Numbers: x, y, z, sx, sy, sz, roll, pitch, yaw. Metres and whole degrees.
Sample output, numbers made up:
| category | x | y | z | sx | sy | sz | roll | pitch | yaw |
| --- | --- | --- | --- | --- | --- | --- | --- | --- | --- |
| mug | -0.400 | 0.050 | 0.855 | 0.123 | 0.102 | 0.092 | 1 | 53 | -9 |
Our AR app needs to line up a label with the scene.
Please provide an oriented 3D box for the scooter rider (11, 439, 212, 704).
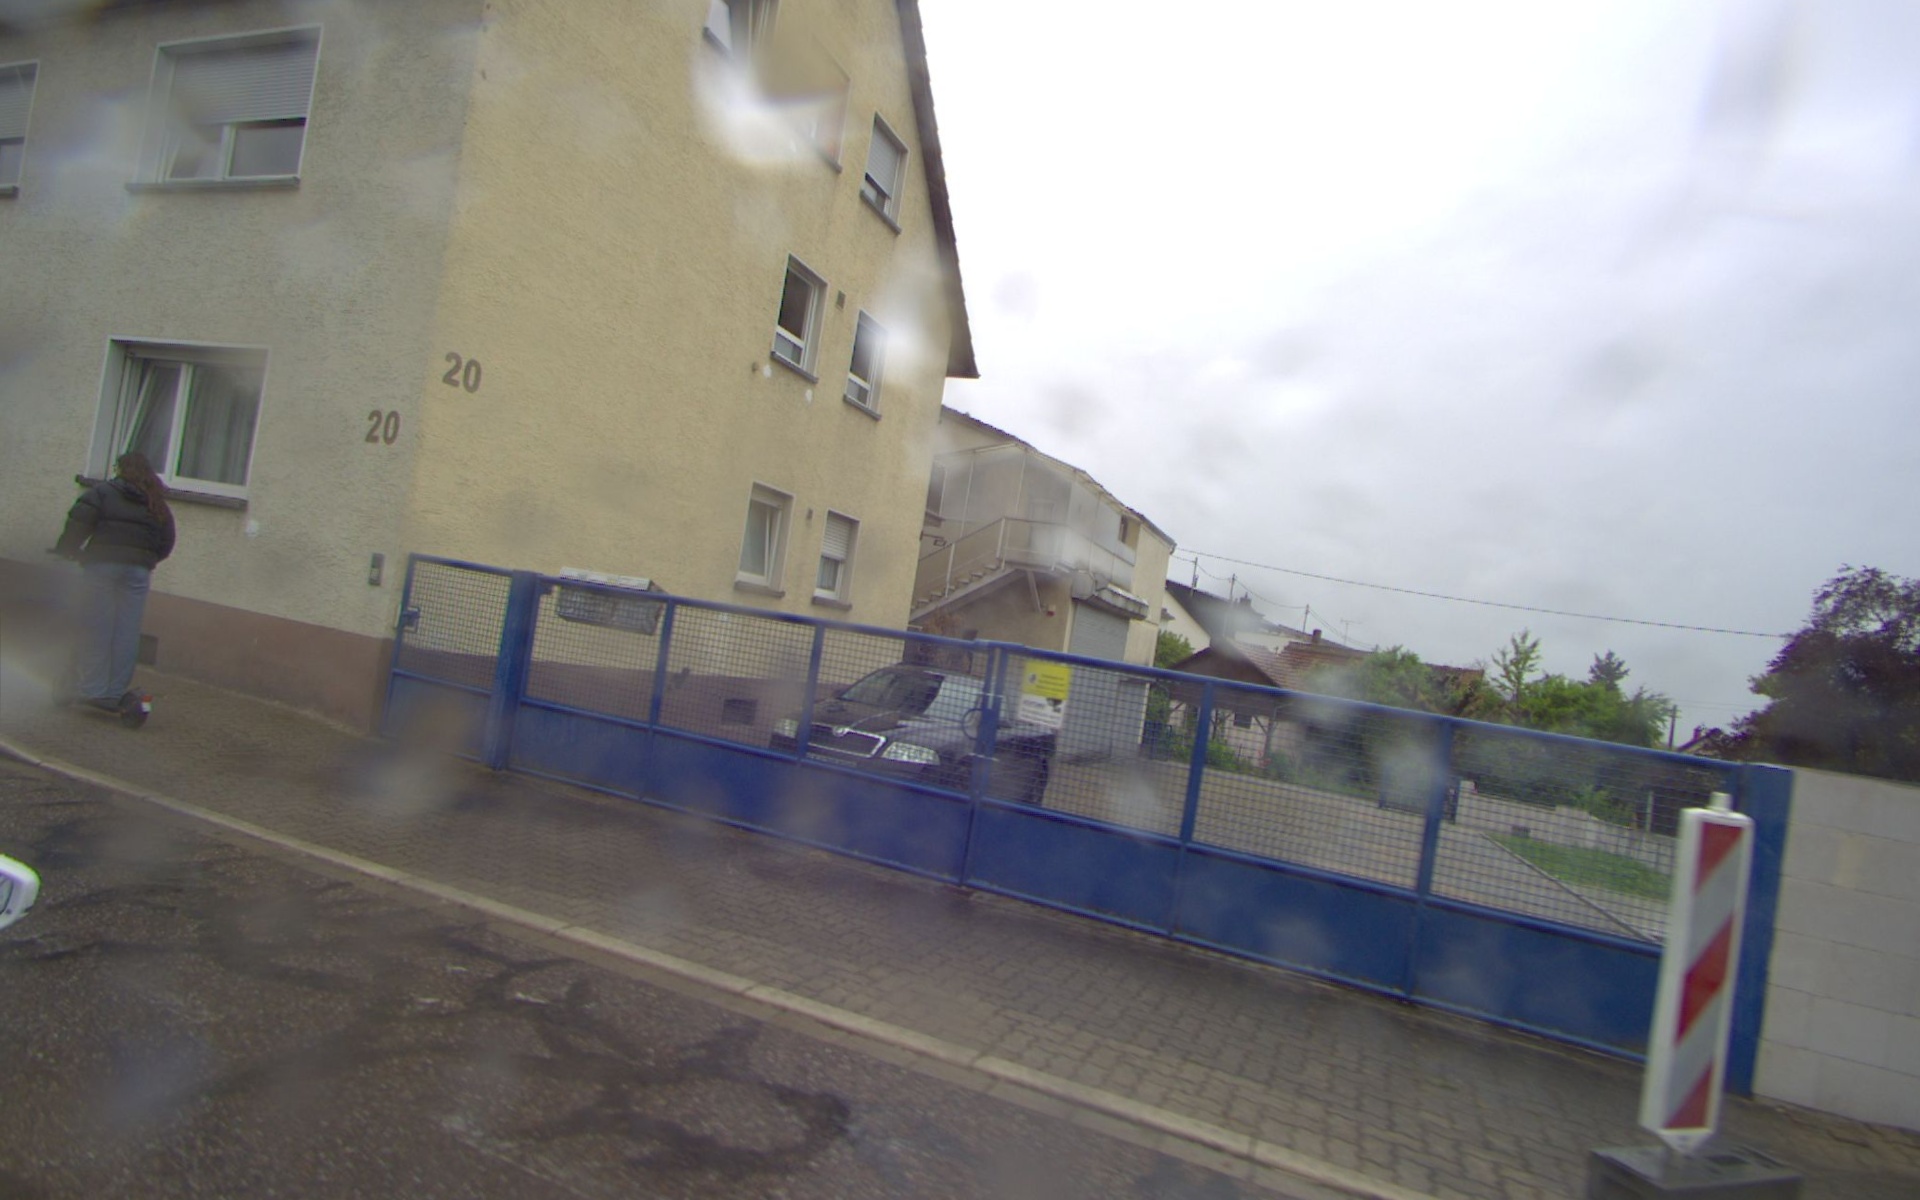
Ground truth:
| category | x | y | z | sx | sy | sz | roll | pitch | yaw |
| --- | --- | --- | --- | --- | --- | --- | --- | --- | --- |
| scooter rider | -6.001 | -0.173 | 7.144 | 0.508 | 1.752 | 0.734 | 7 | -2 | 22 |

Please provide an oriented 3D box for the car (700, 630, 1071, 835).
| category | x | y | z | sx | sy | sz | roll | pitch | yaw |
| --- | --- | --- | --- | --- | --- | --- | --- | --- | --- |
| car | -0.436 | 1.338 | 9.899 | 1.877 | 1.314 | 4.169 | 8 | -6 | 22 |

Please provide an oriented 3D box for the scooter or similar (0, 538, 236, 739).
| category | x | y | z | sx | sy | sz | roll | pitch | yaw |
| --- | --- | --- | --- | --- | --- | --- | --- | --- | --- |
| scooter or similar | -5.981 | 0.268 | 7.104 | 1.376 | 1.139 | 0.623 | 10 | -1 | 22 |
